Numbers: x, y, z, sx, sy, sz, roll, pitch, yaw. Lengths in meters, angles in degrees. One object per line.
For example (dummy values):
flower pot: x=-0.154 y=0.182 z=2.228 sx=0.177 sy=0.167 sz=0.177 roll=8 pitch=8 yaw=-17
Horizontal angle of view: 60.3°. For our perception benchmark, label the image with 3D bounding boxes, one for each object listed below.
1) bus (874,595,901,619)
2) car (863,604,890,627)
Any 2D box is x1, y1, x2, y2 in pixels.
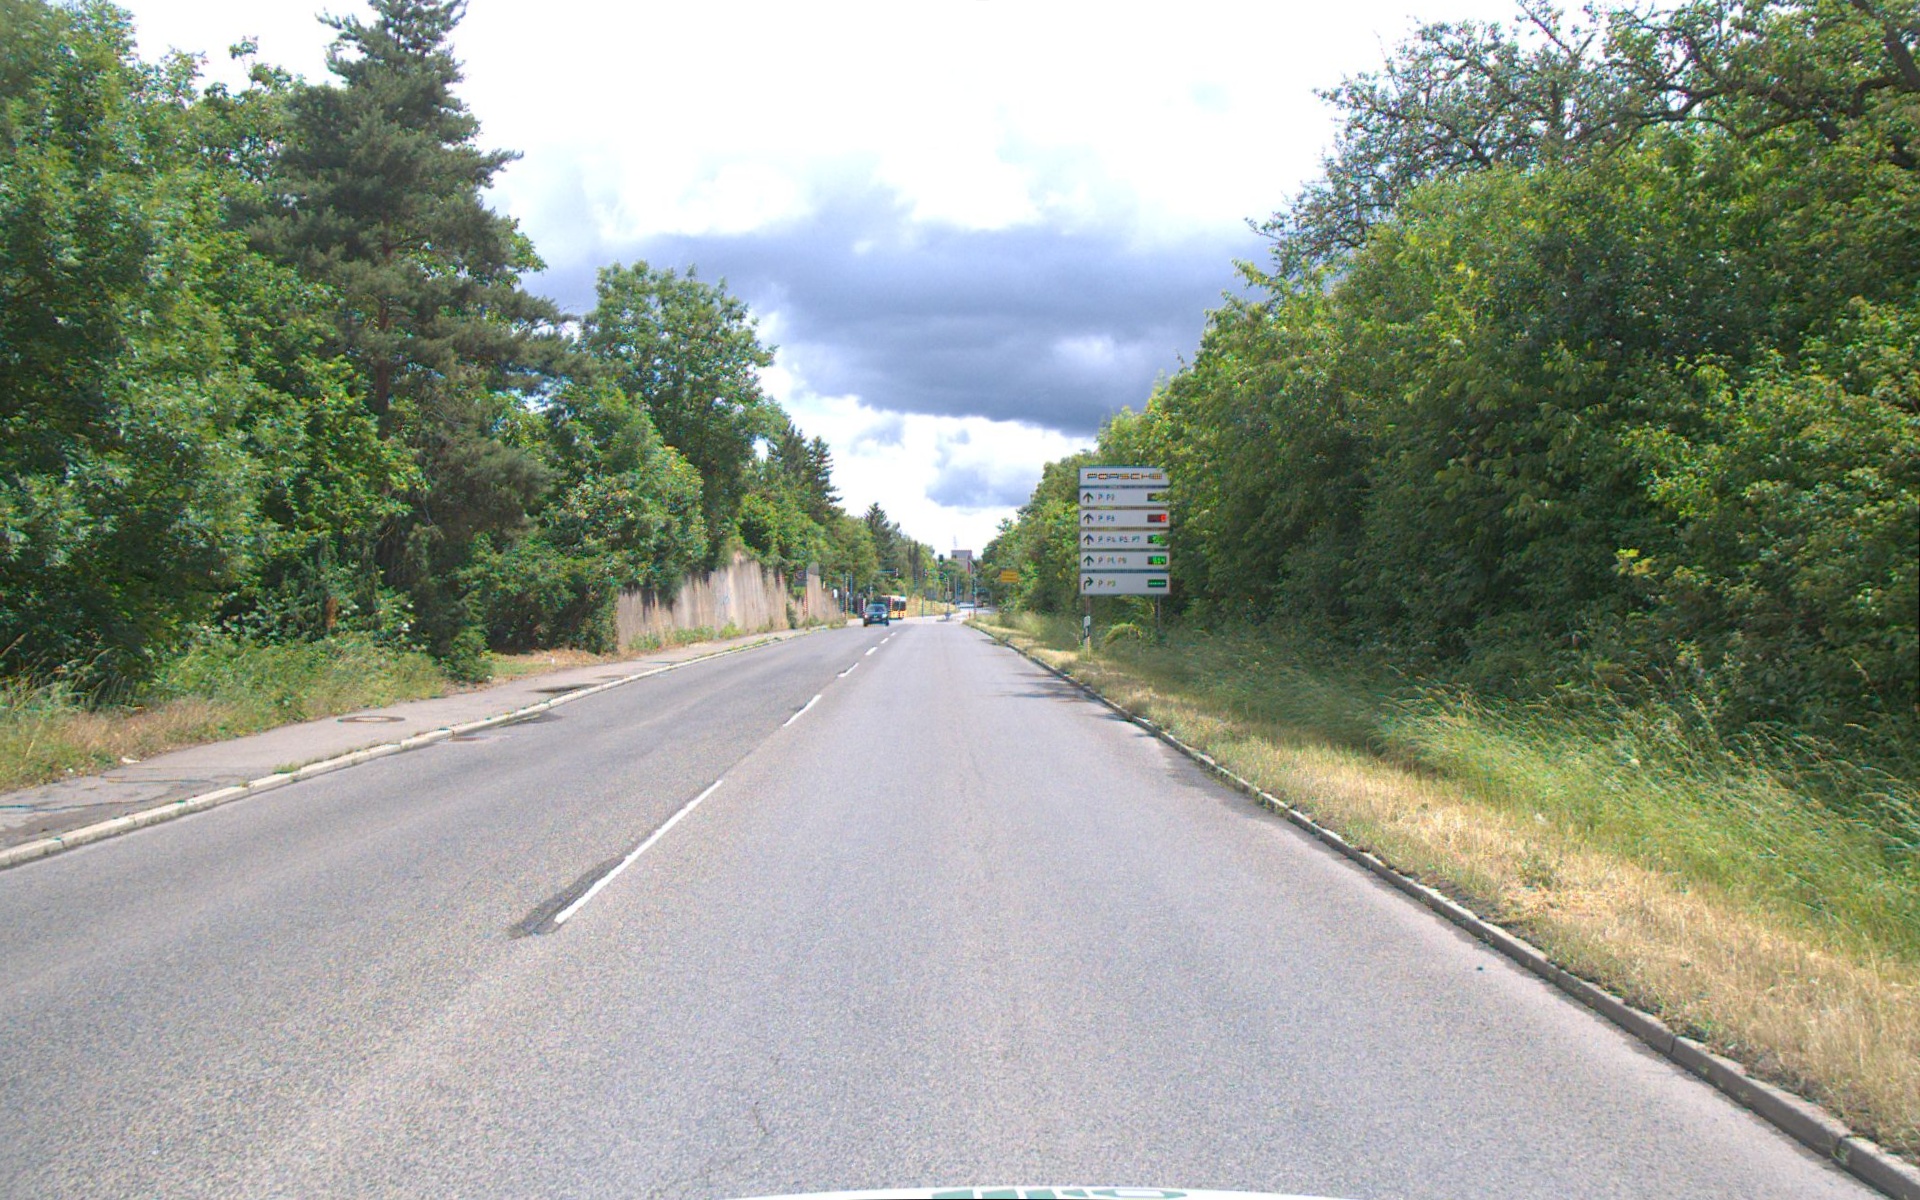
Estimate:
bus: x=-9.410 y=0.879 z=216.500 sx=2.834 sy=2.949 sz=7.670 roll=1 pitch=1 yaw=2
car: x=-5.707 y=1.046 z=113.409 sx=1.716 sy=1.489 sz=3.999 roll=-1 pitch=0 yaw=-1
